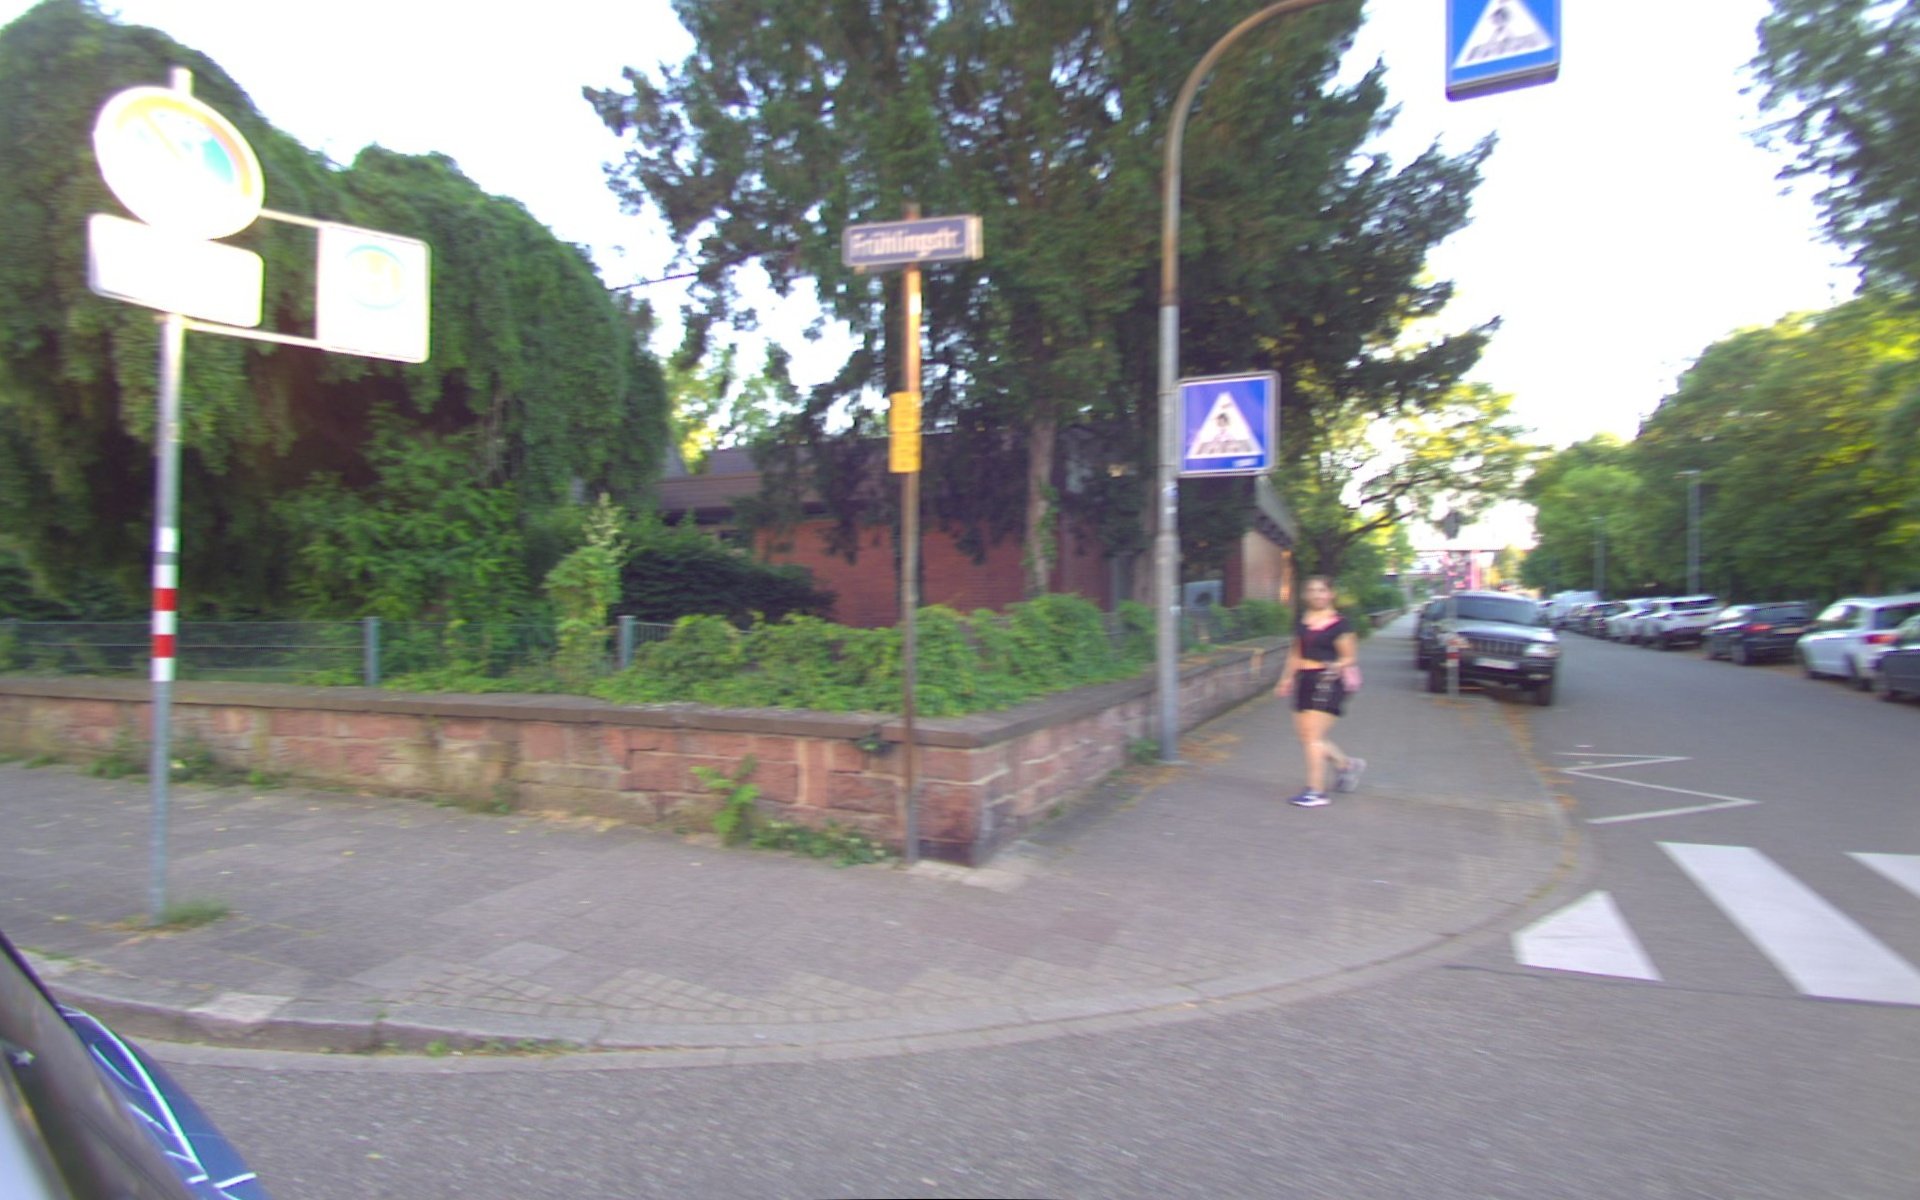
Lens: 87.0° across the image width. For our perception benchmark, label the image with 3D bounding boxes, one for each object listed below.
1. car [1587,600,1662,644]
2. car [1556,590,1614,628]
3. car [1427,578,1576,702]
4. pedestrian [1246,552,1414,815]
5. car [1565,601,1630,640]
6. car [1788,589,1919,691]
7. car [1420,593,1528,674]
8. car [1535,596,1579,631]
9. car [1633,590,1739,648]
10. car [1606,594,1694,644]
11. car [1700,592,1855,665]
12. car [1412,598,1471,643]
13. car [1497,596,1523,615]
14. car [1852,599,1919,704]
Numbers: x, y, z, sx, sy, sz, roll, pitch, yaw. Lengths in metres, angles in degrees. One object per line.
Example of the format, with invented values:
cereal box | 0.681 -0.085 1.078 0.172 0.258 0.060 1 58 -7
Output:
car | 27.551 0.910 42.101 1.776 1.584 3.854 -6 -3 23
car | 34.391 0.493 55.793 1.953 1.850 3.854 -6 -3 23
car | 8.880 0.593 16.894 1.776 1.767 3.854 2 0 23
pedestrian | 2.700 0.548 7.377 0.861 1.738 0.814 4 3 38
car | 29.689 0.938 47.242 1.776 1.584 3.854 -6 -3 23
car | 16.833 0.653 18.241 1.776 1.589 3.854 -6 -3 23
car | 11.244 0.687 22.359 1.776 1.511 3.854 4 1 23
car | 38.660 0.851 65.592 1.776 2.052 3.854 -6 -3 23
car | 22.988 0.607 32.205 1.776 1.584 3.854 -6 -3 23
car | 25.363 0.702 37.327 1.776 1.584 3.854 -6 -3 23
car | 19.682 0.681 24.574 1.776 1.488 3.854 -6 -3 23
car | 18.307 0.754 38.642 1.776 1.511 3.854 4 1 23
car | 56.524 0.578 104.056 1.776 1.796 3.981 -6 -3 23
car | 14.552 0.681 14.201 1.776 1.462 3.854 -6 -3 23
